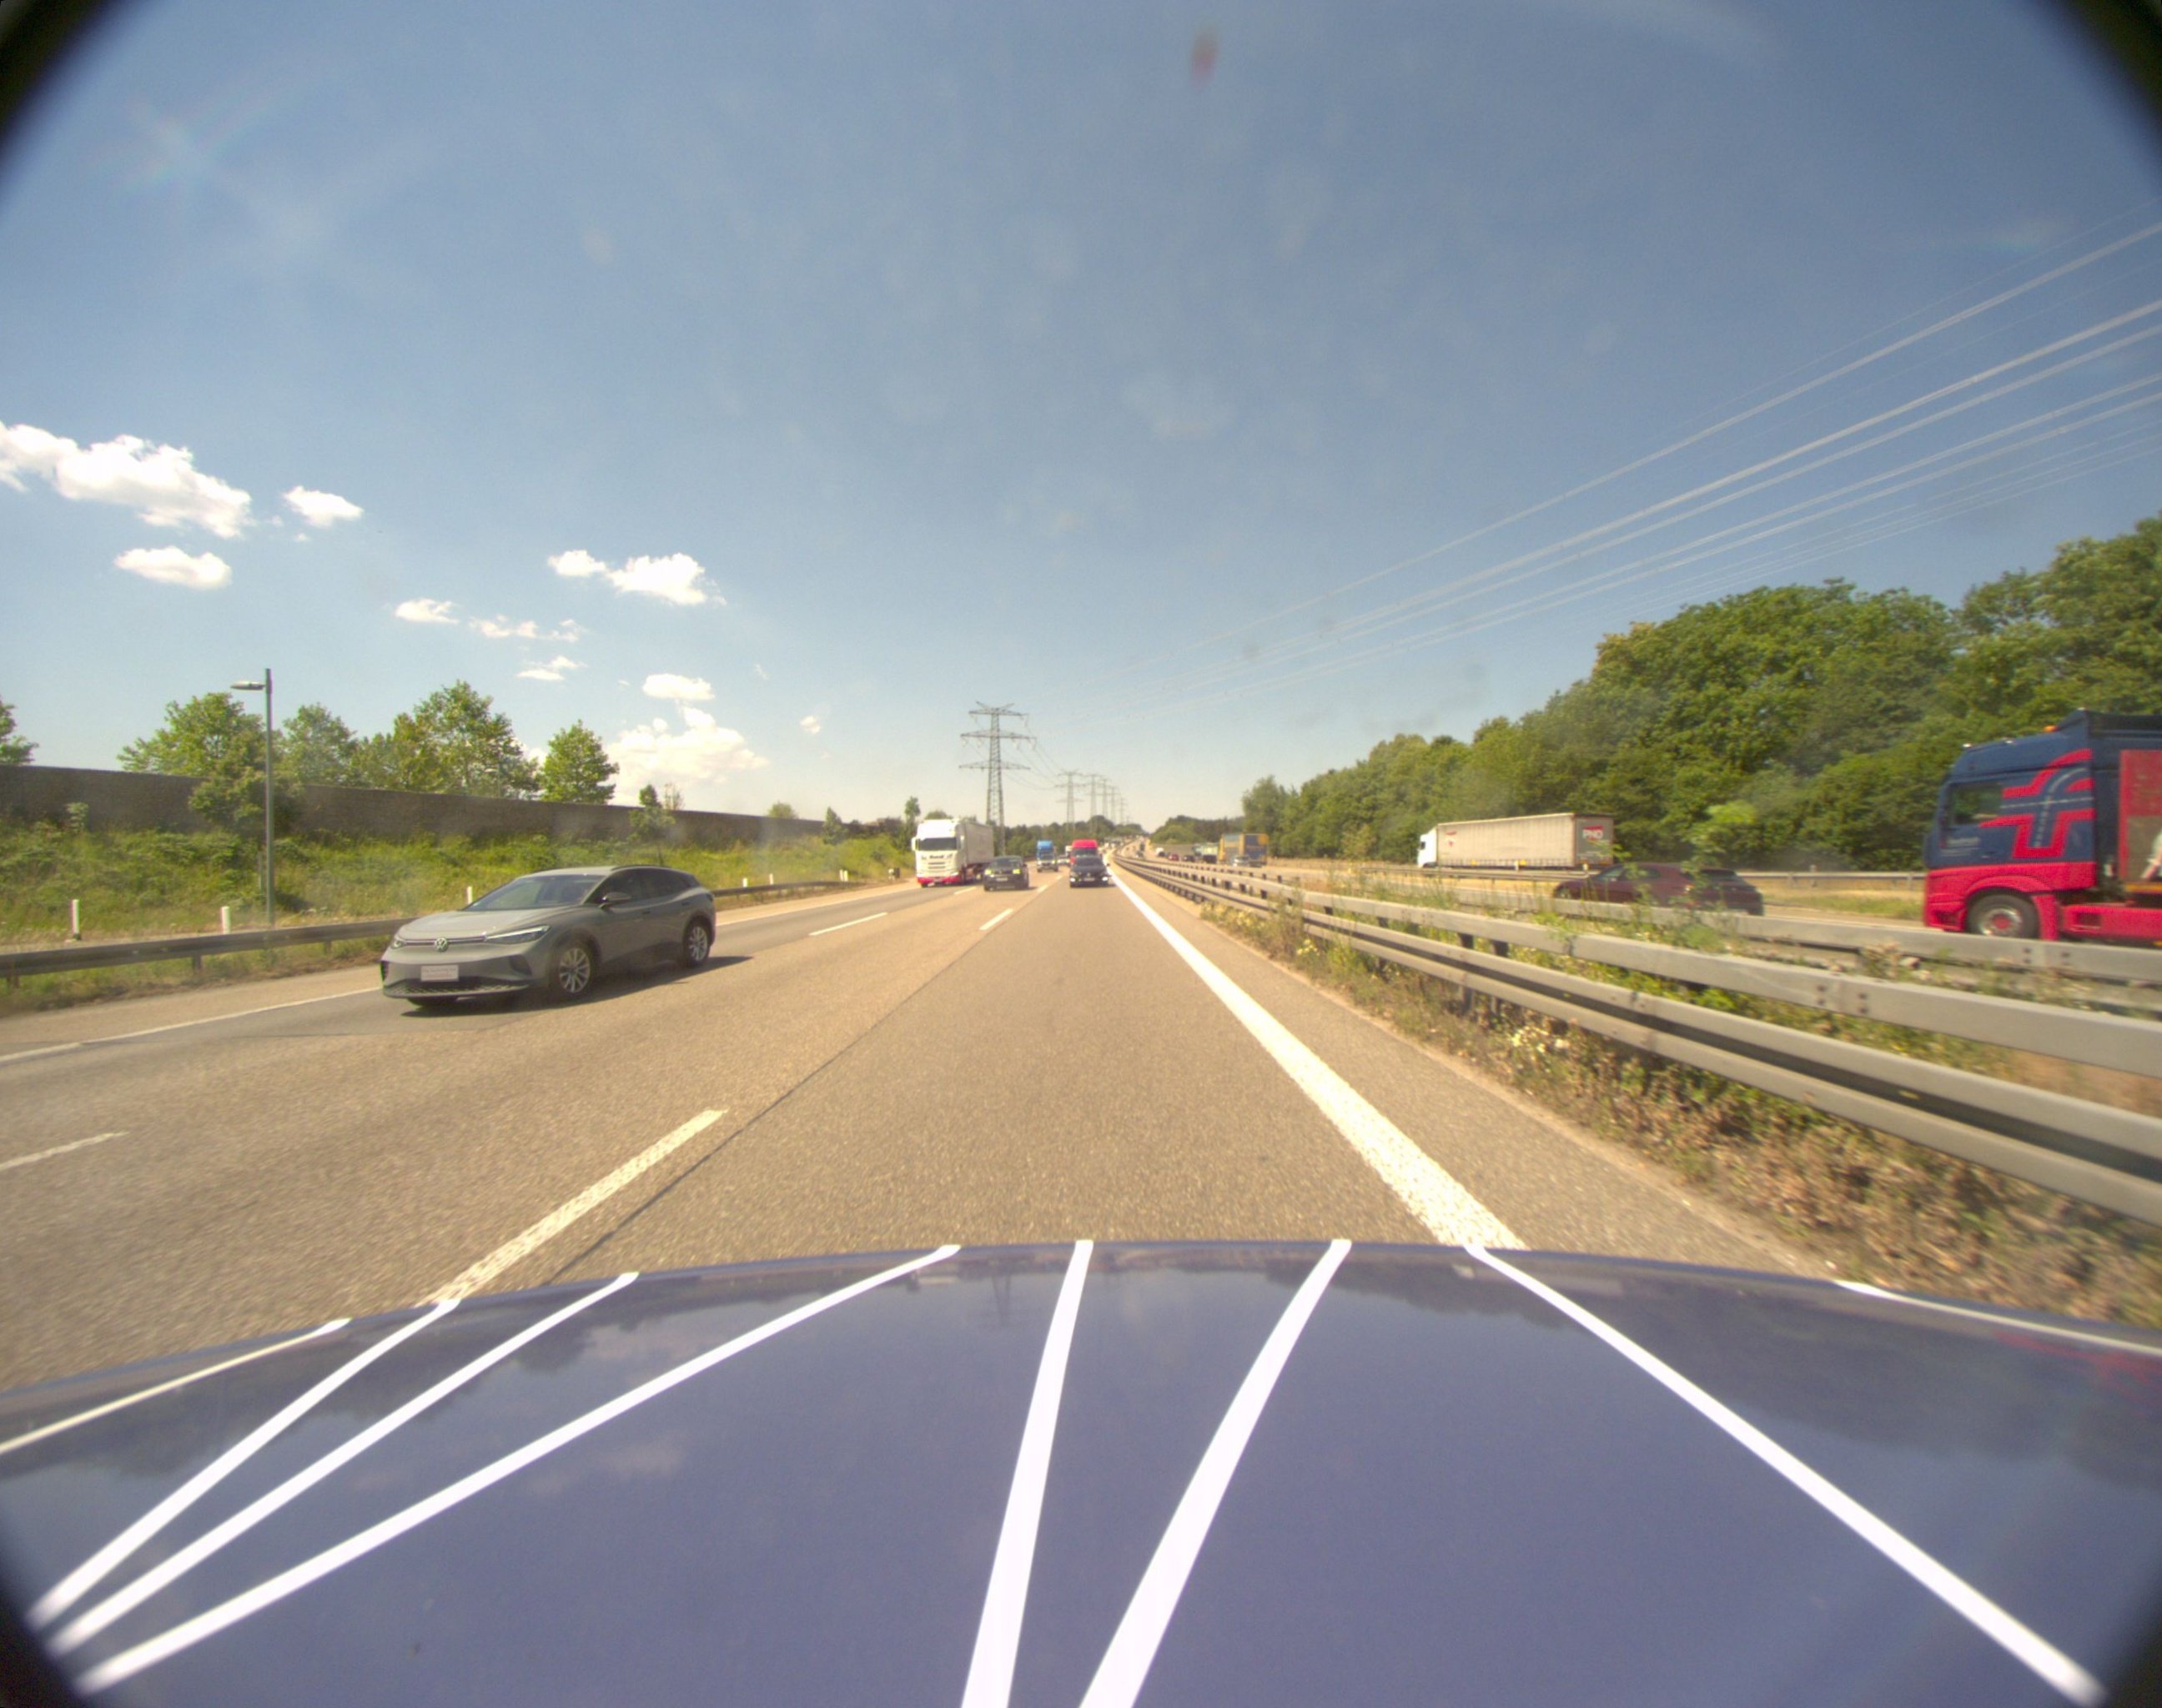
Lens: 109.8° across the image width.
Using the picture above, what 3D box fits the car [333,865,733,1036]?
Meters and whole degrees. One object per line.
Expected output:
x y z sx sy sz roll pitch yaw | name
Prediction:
-6.821 1.055 10.287 1.872 1.627 4.586 -2 1 3 | car

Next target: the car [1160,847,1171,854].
20.995 -0.873 188.080 2.163 1.789 4.512 1 1 -1 | car

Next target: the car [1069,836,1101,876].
0.345 0.107 52.793 2.100 2.598 4.496 0 1 2 | car

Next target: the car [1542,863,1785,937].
12.812 0.930 17.230 1.774 1.326 4.921 0 0 1 | car

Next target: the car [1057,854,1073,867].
-2.179 0.887 103.594 1.879 1.591 3.688 0 1 2 | car

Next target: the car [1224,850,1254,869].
13.833 0.475 66.768 1.786 1.522 3.883 2 1 0 | car

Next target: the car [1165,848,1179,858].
15.696 -0.210 130.968 1.786 1.522 4.384 2 1 0 | car

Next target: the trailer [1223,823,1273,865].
18.673 -1.059 86.145 3.182 4.316 13.813 -1 0 2 | trailer

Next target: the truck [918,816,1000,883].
-7.920 -0.304 51.354 3.076 3.885 12.504 -2 0 2 | truck

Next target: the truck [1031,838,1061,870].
-5.982 -0.085 132.246 3.797 4.971 14.924 -2 1 2 | truck

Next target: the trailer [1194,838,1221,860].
19.888 -0.778 119.973 2.921 3.281 9.709 -1 0 1 | trailer

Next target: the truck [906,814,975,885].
-8.106 -0.254 44.361 3.076 3.885 3.847 -2 1 1 | truck

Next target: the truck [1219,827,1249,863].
19.019 -1.137 94.827 3.182 4.316 3.513 -1 1 2 | truck

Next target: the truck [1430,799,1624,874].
29.423 -0.845 51.604 3.005 4.314 14.540 -1 -2 -7 | truck

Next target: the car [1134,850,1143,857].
13.206 -0.211 175.668 1.786 1.615 4.000 0 1 1 | car

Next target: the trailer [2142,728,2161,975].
16.944 0.008 3.072 3.003 3.538 16.022 -1 0 0 | trailer

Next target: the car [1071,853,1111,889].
0.497 0.715 34.862 1.735 1.535 3.750 0 1 2 | car

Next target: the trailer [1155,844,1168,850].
23.311 -2.030 220.363 2.772 1.934 6.722 1 1 -1 | trailer

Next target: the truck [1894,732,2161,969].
17.021 -0.067 12.932 3.003 3.538 3.118 -1 1 0 | truck

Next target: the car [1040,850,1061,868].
-2.870 0.448 72.545 1.749 1.691 4.088 0 1 2 | car

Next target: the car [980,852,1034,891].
-3.450 0.774 36.164 1.955 1.636 4.047 -3 1 2 | car

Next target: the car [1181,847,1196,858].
15.136 -0.195 107.290 1.716 1.460 4.146 1 1 3 | car

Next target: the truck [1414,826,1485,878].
28.429 -0.095 58.788 2.953 3.872 4.322 -1 -1 -7 | truck
